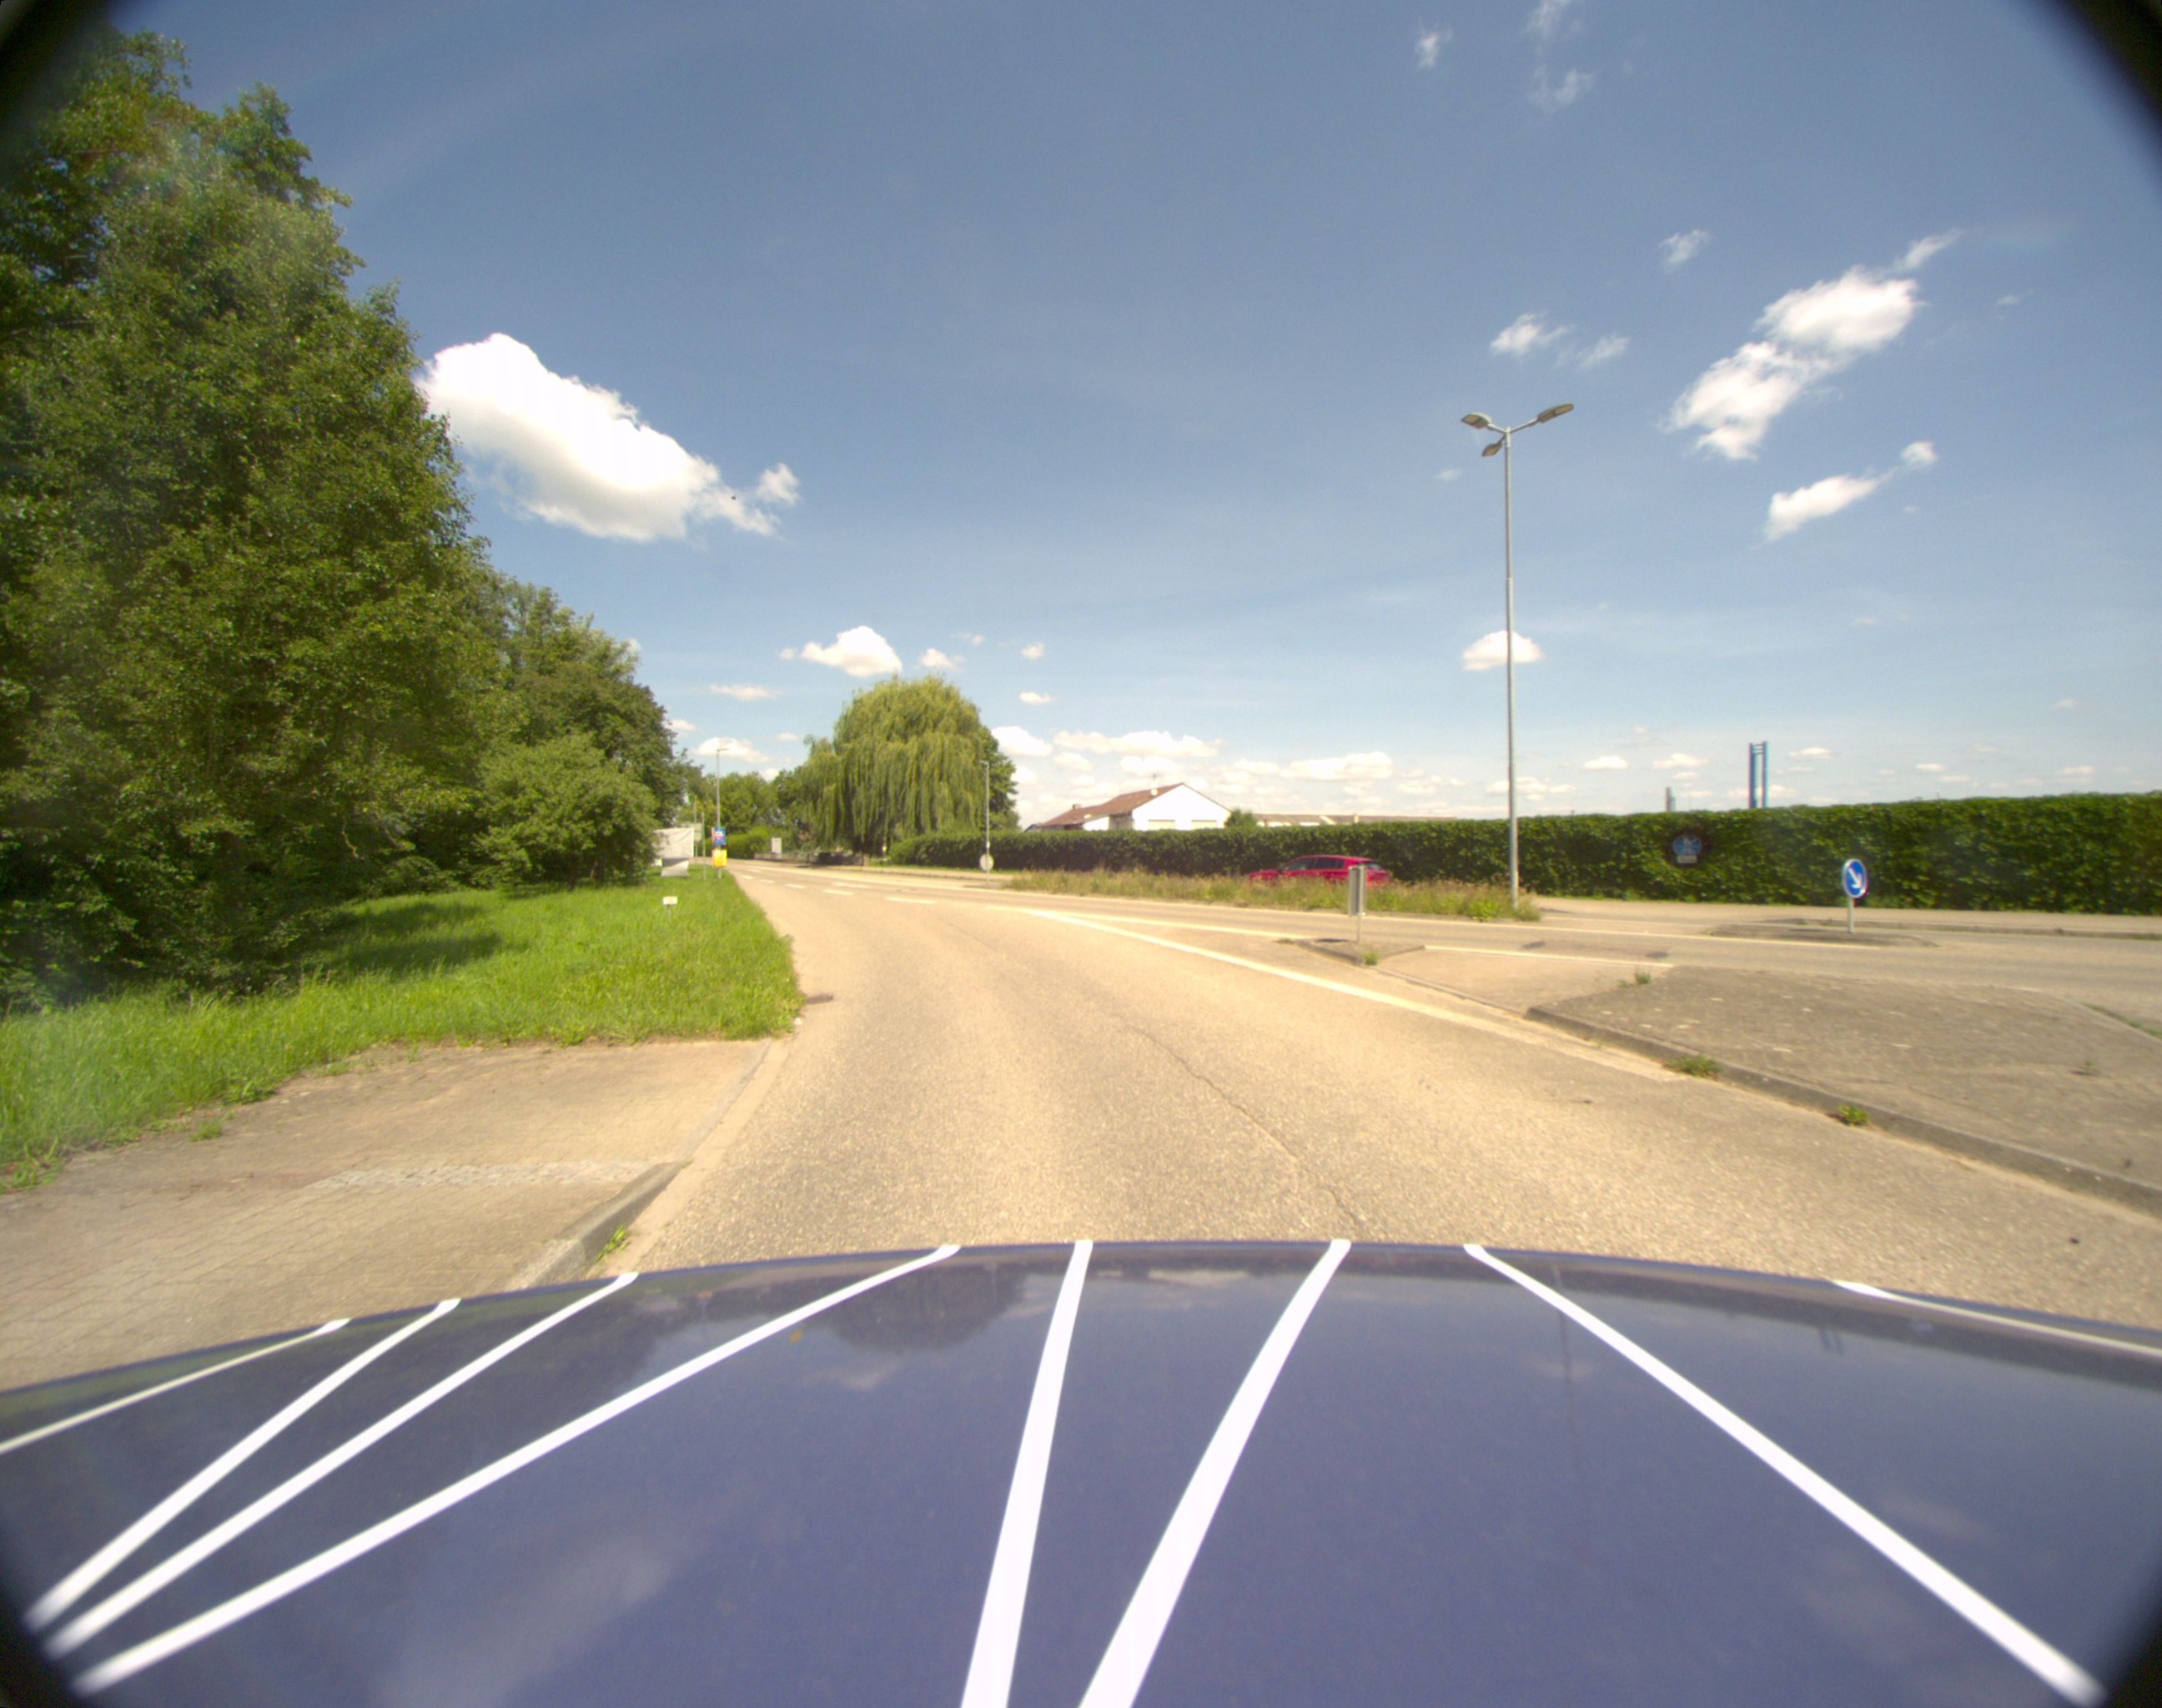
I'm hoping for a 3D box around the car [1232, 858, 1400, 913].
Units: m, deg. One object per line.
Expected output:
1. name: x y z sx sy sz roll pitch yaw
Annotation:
1. car: 6.900 0.863 22.592 4.374 1.455 1.890 0 0 45
